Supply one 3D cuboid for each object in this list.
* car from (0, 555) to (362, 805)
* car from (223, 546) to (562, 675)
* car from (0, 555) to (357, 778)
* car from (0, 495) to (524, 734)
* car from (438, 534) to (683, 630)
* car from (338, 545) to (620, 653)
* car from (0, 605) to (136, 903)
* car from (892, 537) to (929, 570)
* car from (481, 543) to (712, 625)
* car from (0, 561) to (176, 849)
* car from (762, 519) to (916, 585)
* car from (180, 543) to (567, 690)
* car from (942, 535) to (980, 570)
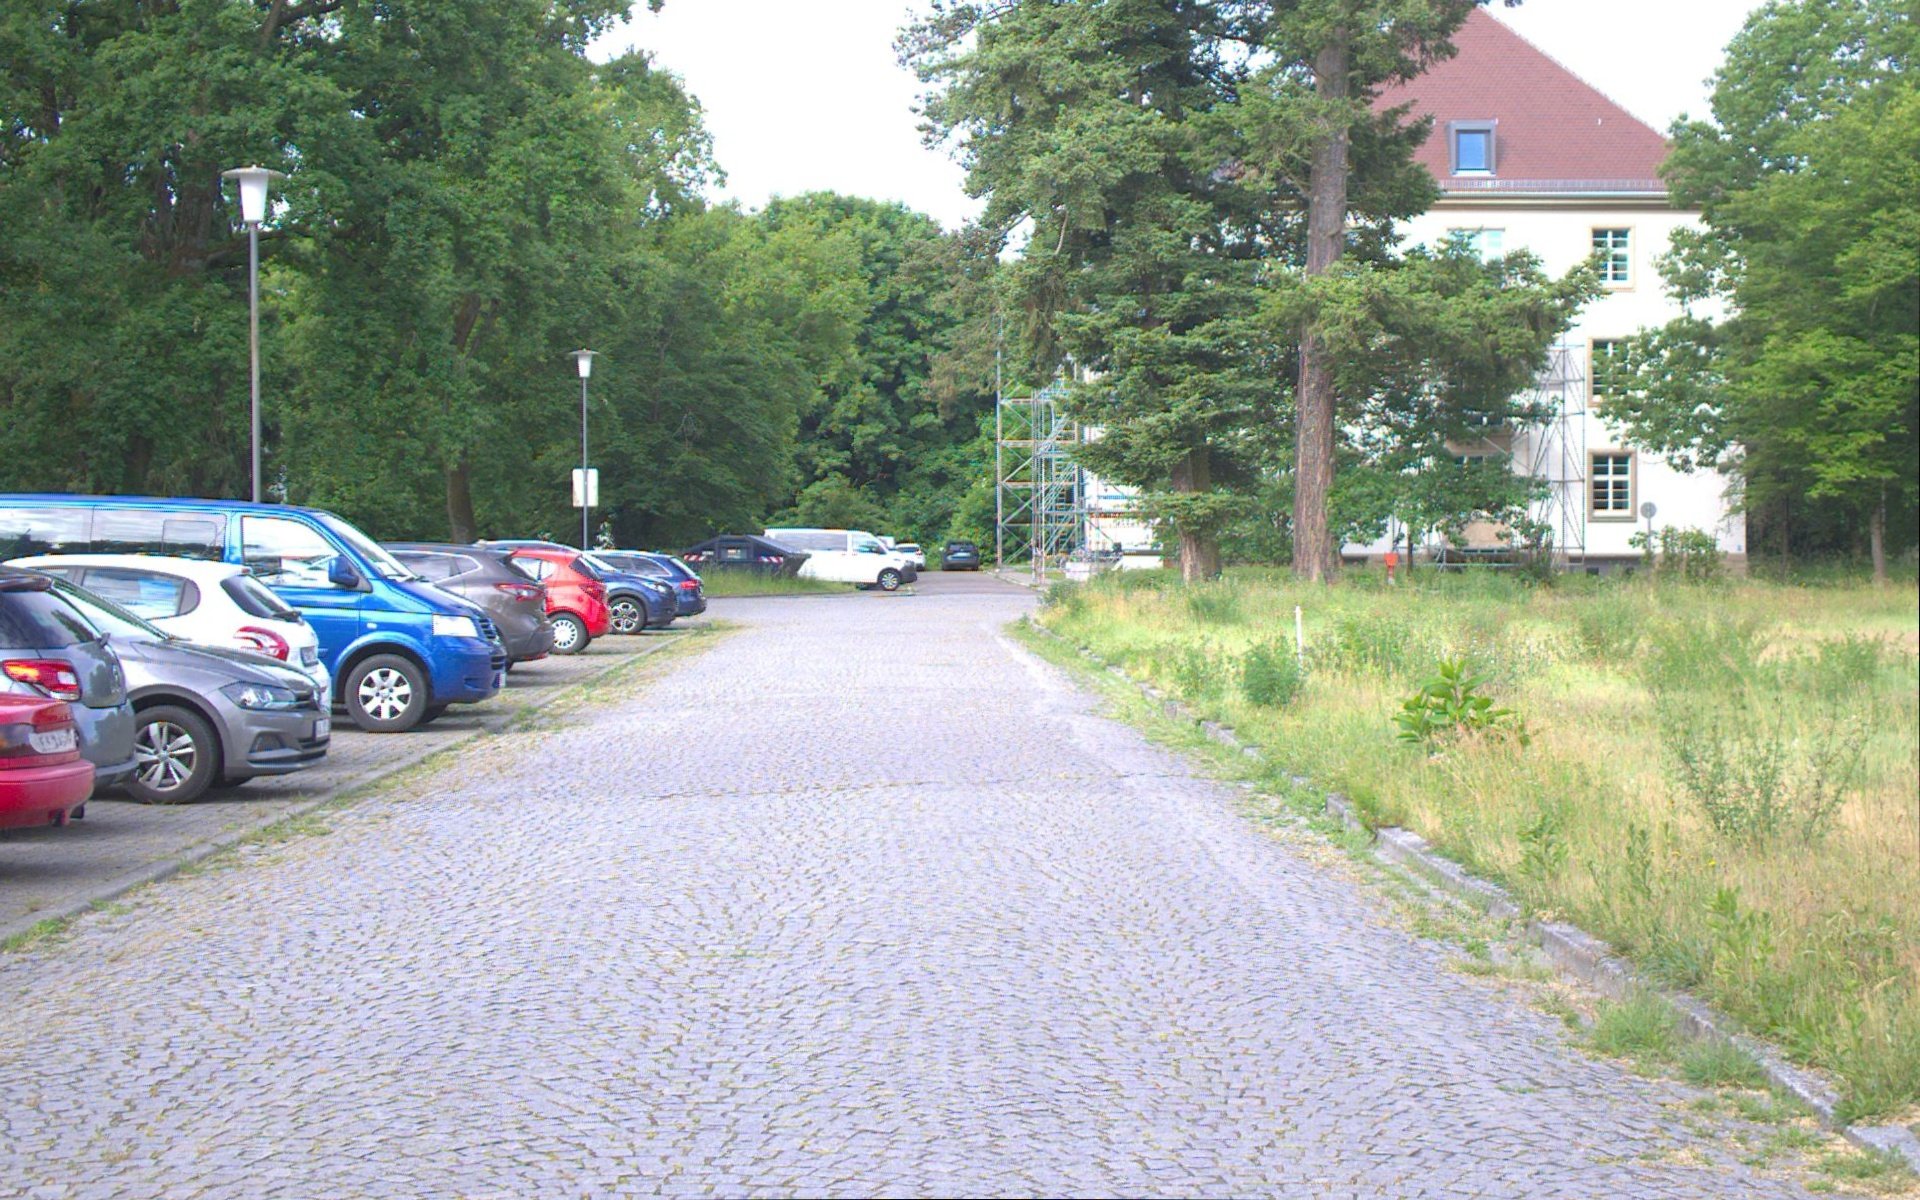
[{"bbox_3d":[-6.087,0.466,21.712,4.304,1.475,1.731,0,1,1],"label":"car"},{"bbox_3d":[-6.809,0.109,41.527,3.815,1.481,1.761,0,1,-1],"label":"car"},{"bbox_3d":[-6.485,0.440,24.573,4.005,1.496,1.843,0,1,1],"label":"car"},{"bbox_3d":[-6.253,0.098,29.872,4.709,1.974,2.038,0,1,-1],"label":"car"},{"bbox_3d":[-6.853,-0.318,59.303,4.071,1.598,1.788,0,1,-2],"label":"car"},{"bbox_3d":[-6.823,-0.025,49.055,3.815,1.484,1.788,0,1,-2],"label":"car"},{"bbox_3d":[-6.143,0.673,16.149,4.131,1.279,1.764,0,1,-1],"label":"car"},{"bbox_3d":[-2.574,-2.411,179.067,1.790,1.630,4.061,0,0,-2],"label":"car"},{"bbox_3d":[-6.740,-0.313,64.003,4.071,1.462,1.626,0,1,3],"label":"car"},{"bbox_3d":[-6.543,0.527,18.823,4.088,1.475,1.755,0,1,0],"label":"car"},{"bbox_3d":[-3.972,-1.573,113.003,4.977,2.065,2.052,1,-1,-2],"label":"car"},{"bbox_3d":[-6.548,0.168,38.743,4.067,1.570,1.955,0,1,-2],"label":"car"},{"bbox_3d":[0.044,-2.462,179.417,1.790,1.714,4.061,0,0,-2],"label":"car"}]
